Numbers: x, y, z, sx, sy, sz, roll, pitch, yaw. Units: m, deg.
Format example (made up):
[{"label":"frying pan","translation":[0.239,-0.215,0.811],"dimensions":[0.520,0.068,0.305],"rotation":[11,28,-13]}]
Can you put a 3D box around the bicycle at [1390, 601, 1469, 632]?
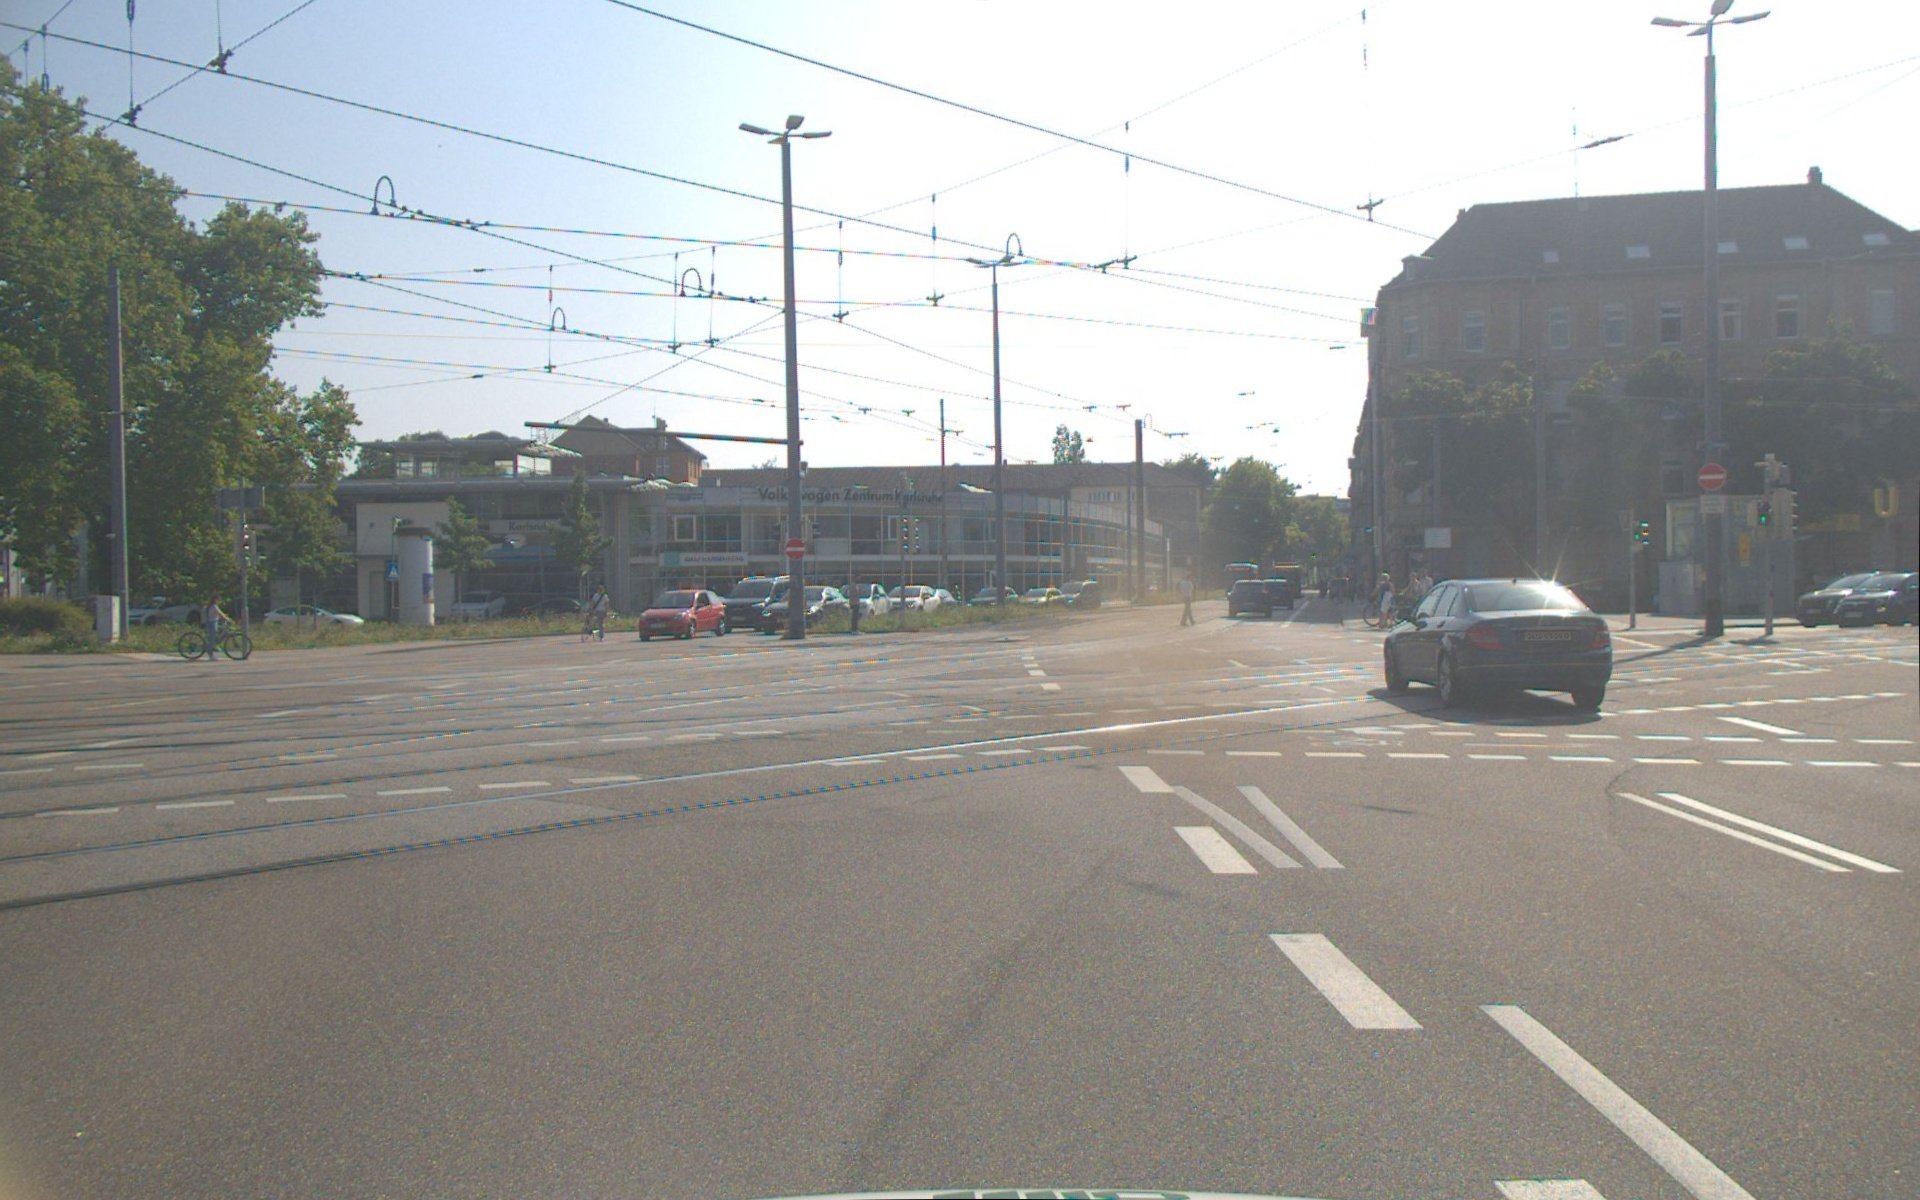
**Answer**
[{"label":"bicycle","translation":[16.148,0.553,56.915],"dimensions":[2.587,0.981,1.084],"rotation":[-1,0,-27]}]

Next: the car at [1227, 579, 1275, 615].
[{"label":"car","translation":[12.474,-0.157,70.700],"dimensions":[1.786,1.453,4.416],"rotation":[-1,1,13]}]

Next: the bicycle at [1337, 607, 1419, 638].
[{"label":"bicycle","translation":[13.955,0.746,55.235],"dimensions":[2.587,0.981,1.084],"rotation":[-1,0,-27]}]

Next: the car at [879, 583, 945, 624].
[{"label":"car","translation":[-1.878,0.123,65.522],"dimensions":[1.580,1.501,4.003],"rotation":[-3,0,13]}]

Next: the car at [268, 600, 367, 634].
[{"label":"car","translation":[-30.567,0.792,78.769],"dimensions":[4.001,1.549,1.706],"rotation":[-1,0,2]}]

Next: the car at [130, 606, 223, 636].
[{"label":"car","translation":[-42.636,1.101,90.081],"dimensions":[1.667,1.549,4.508],"rotation":[0,0,28]}]

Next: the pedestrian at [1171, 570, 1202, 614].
[{"label":"pedestrian","translation":[7.852,-0.277,57.346],"dimensions":[0.768,1.529,0.704],"rotation":[-1,0,-27]}]

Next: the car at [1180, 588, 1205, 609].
[{"label":"car","translation":[18.353,-0.125,130.441],"dimensions":[1.580,1.501,4.003],"rotation":[-3,0,13]}]

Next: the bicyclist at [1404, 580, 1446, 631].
[{"label":"bicyclist","translation":[15.975,0.182,56.821],"dimensions":[0.922,1.709,1.084],"rotation":[-1,0,-26]}]

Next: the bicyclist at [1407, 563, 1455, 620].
[{"label":"bicyclist","translation":[14.597,-0.278,51.273],"dimensions":[0.928,1.738,1.077],"rotation":[-1,0,-40]}]

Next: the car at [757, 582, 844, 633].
[{"label":"car","translation":[-5.061,0.222,53.046],"dimensions":[1.580,1.501,4.003],"rotation":[-3,0,12]}]

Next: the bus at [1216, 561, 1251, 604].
[{"label":"bus","translation":[25.135,-1.538,151.415],"dimensions":[2.858,3.682,16.761],"rotation":[-1,0,10]}]

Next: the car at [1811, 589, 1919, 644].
[{"label":"car","translation":[25.475,0.407,45.201],"dimensions":[4.329,1.421,2.003],"rotation":[-1,0,-31]}]

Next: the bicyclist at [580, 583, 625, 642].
[{"label":"bicyclist","translation":[-11.034,0.385,51.068],"dimensions":[0.937,1.779,1.167],"rotation":[-1,0,13]}]

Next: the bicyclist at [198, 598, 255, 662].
[{"label":"bicyclist","translation":[-18.341,0.743,41.366],"dimensions":[1.144,1.554,0.956],"rotation":[1,-1,-17]}]

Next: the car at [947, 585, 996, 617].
[{"label":"car","translation":[0.610,0.027,83.809],"dimensions":[1.580,1.501,4.003],"rotation":[-3,0,13]}]

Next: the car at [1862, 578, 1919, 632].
[{"label":"car","translation":[34.519,0.157,59.083],"dimensions":[4.204,1.891,1.917],"rotation":[-1,0,-24]}]

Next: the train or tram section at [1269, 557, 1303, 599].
[{"label":"train or tram section","translation":[30.979,-2.104,157.463],"dimensions":[2.598,3.763,10.598],"rotation":[-1,1,9]}]

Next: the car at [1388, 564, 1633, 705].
[{"label":"car","translation":[6.394,0.347,19.701],"dimensions":[1.647,1.468,4.374],"rotation":[-1,0,3]}]

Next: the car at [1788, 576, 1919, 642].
[{"label":"car","translation":[26.855,0.246,49.397],"dimensions":[4.193,1.891,1.890],"rotation":[-1,0,-31]}]

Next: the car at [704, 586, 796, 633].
[{"label":"car","translation":[-7.309,0.300,57.988],"dimensions":[1.918,1.501,4.003],"rotation":[-3,0,12]}]

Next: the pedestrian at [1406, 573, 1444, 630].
[{"label":"pedestrian","translation":[15.252,0.052,54.246],"dimensions":[0.921,1.828,0.846],"rotation":[-1,0,-44]}]

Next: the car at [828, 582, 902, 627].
[{"label":"car","translation":[-3.375,0.140,59.613],"dimensions":[1.580,1.501,4.003],"rotation":[-3,0,12]}]

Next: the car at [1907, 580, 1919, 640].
[{"label":"car","translation":[32.251,0.291,52.302],"dimensions":[4.642,1.891,1.892],"rotation":[-1,0,-29]}]

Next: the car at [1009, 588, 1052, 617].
[{"label":"car","translation":[3.894,0.112,91.129],"dimensions":[1.580,1.501,4.003],"rotation":[-3,0,13]}]

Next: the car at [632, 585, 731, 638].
[{"label":"car","translation":[-8.509,0.340,50.805],"dimensions":[1.580,1.501,4.003],"rotation":[-3,0,12]}]

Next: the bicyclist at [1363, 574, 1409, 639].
[{"label":"bicyclist","translation":[13.629,0.208,52.917],"dimensions":[0.928,2.059,1.077],"rotation":[-1,0,-40]}]

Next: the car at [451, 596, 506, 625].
[{"label":"car","translation":[-25.857,0.549,88.992],"dimensions":[1.664,1.549,4.100],"rotation":[-1,0,2]}]

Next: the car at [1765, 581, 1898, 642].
[{"label":"car","translation":[28.458,0.345,53.976],"dimensions":[4.216,1.891,1.935],"rotation":[-1,0,-31]}]

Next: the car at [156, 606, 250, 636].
[{"label":"car","translation":[-40.702,1.113,89.015],"dimensions":[1.667,1.549,4.508],"rotation":[0,0,28]}]

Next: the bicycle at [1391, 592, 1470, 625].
[{"label":"bicycle","translation":[14.591,0.259,51.258],"dimensions":[2.602,0.981,1.077],"rotation":[-1,0,-40]}]

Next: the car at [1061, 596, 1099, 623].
[{"label":"car","translation":[7.052,0.543,97.100],"dimensions":[1.580,1.501,4.003],"rotation":[-3,0,13]}]

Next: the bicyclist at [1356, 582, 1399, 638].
[{"label":"bicyclist","translation":[13.937,0.317,55.224],"dimensions":[0.922,1.831,1.084],"rotation":[-1,0,-26]}]

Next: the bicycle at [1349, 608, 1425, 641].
[{"label":"bicycle","translation":[13.672,0.761,52.944],"dimensions":[2.602,0.981,1.077],"rotation":[-1,0,-40]}]

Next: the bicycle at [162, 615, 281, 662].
[{"label":"bicycle","translation":[-18.427,0.962,41.336],"dimensions":[2.558,1.075,0.956],"rotation":[2,-1,-17]}]

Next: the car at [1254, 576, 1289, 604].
[{"label":"car","translation":[16.950,-0.534,89.792],"dimensions":[1.786,1.453,4.416],"rotation":[-1,1,12]}]

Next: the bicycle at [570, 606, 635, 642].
[{"label":"bicycle","translation":[-11.027,0.725,51.089],"dimensions":[0.937,1.075,2.610],"rotation":[-1,0,13]}]
